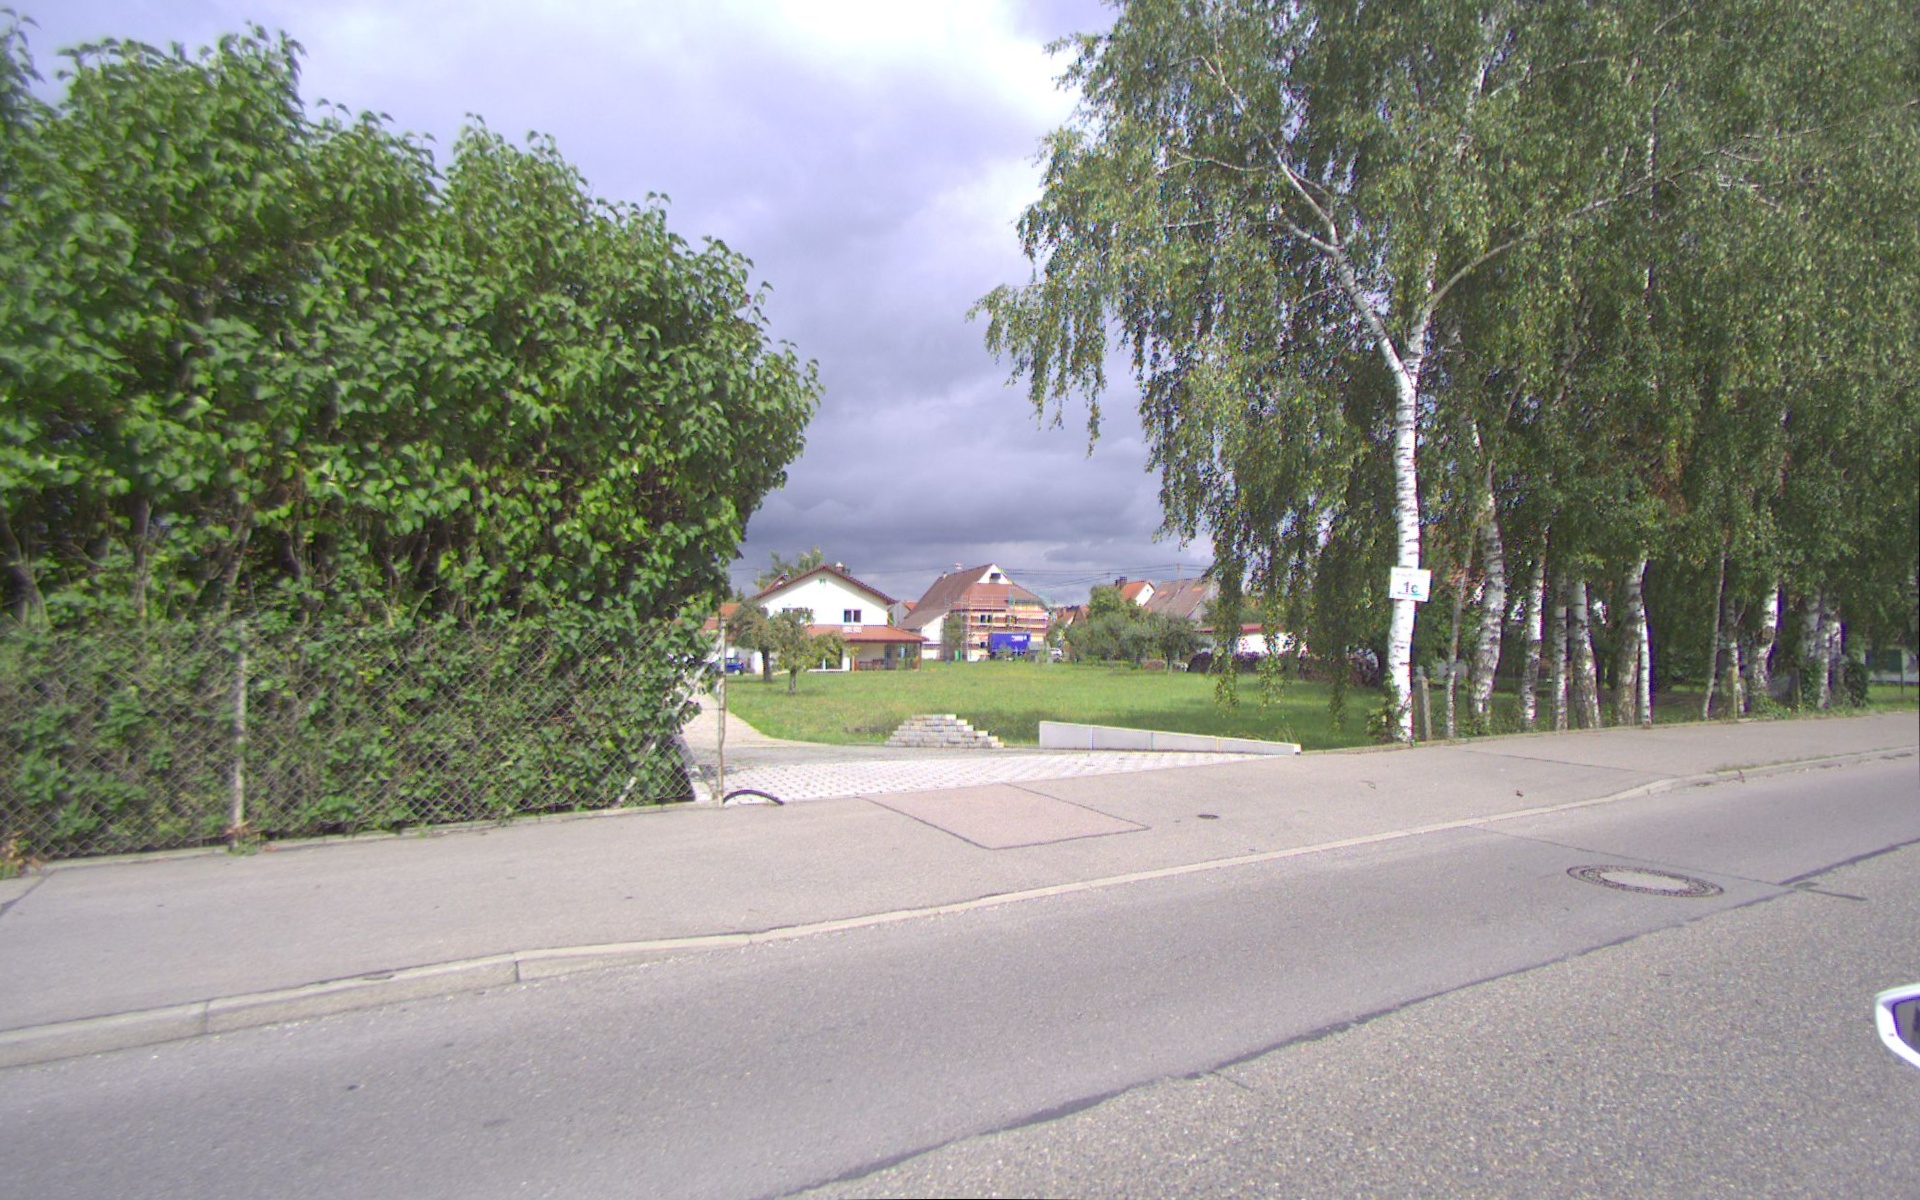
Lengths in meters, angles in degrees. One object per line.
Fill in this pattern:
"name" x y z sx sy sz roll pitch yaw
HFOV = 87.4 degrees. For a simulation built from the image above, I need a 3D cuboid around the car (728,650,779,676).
"car" -16.681 5.059 81.069 3.934 2.040 1.994 1 -3 -15
